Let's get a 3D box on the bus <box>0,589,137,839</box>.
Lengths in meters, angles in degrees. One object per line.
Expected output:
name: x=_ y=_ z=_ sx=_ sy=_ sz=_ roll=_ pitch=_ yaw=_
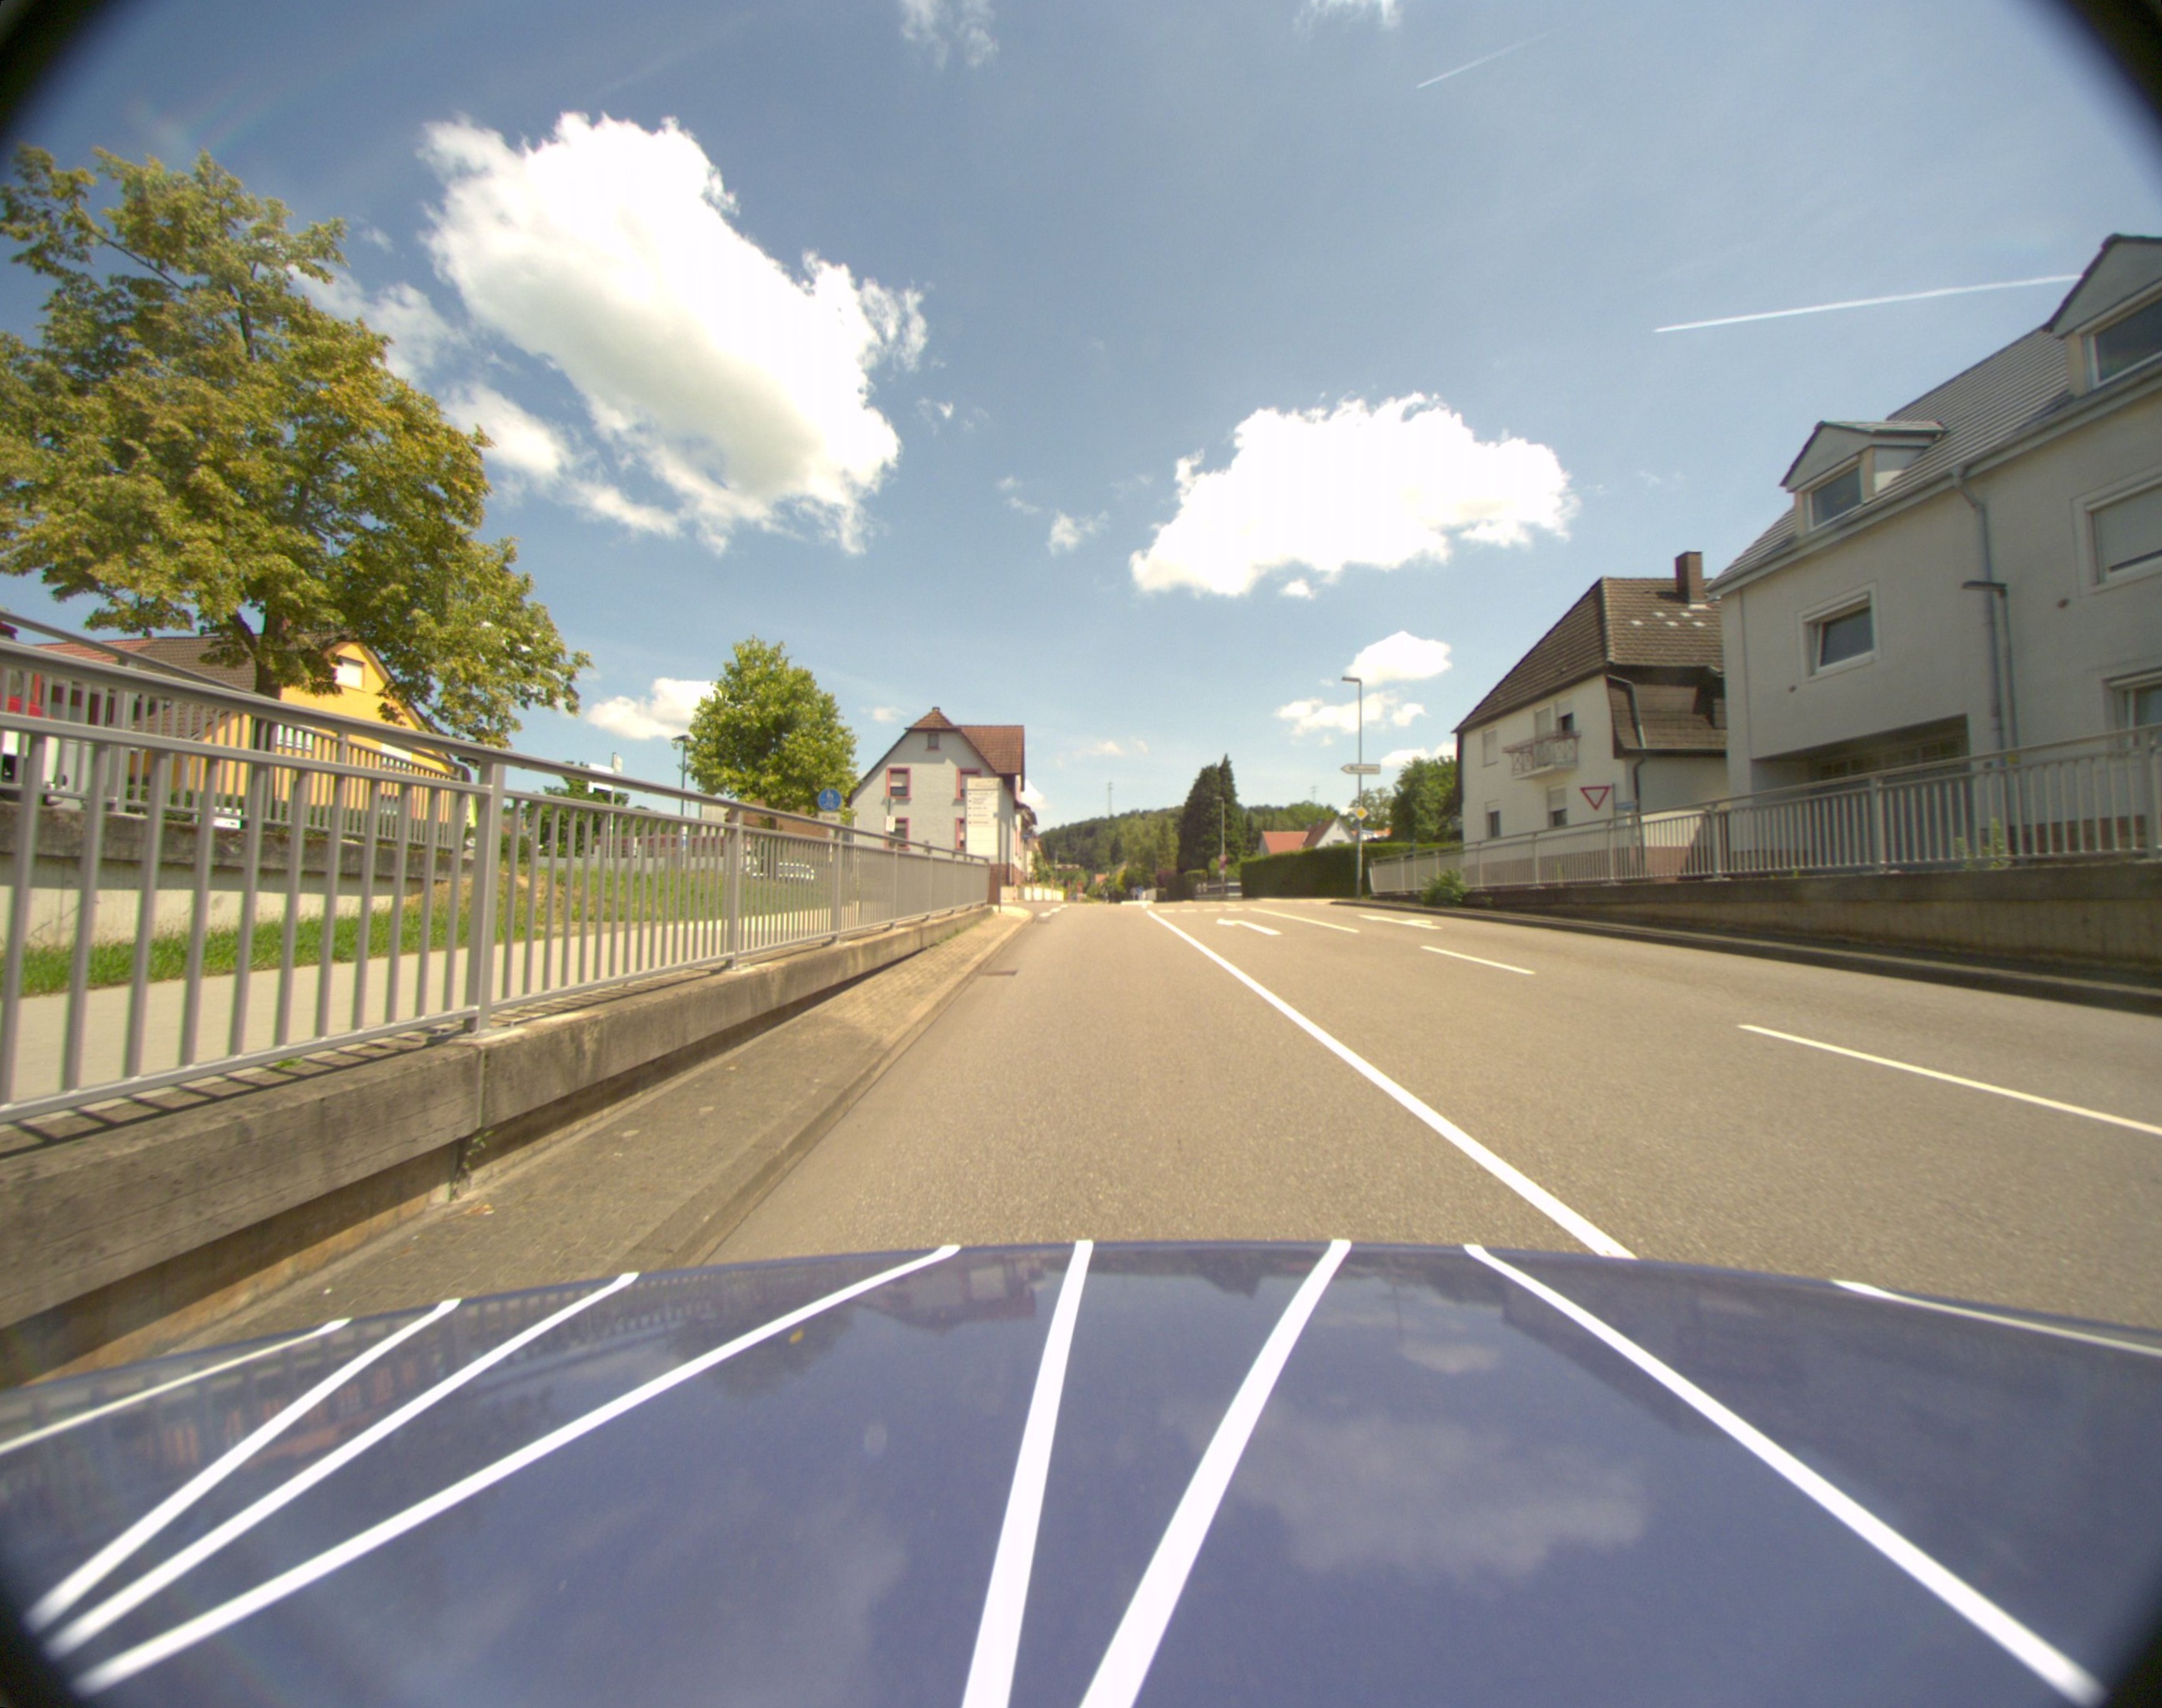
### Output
bus: x=-11.678 y=-1.544 z=5.755 sx=2.194 sy=2.351 sz=5.367 roll=1 pitch=-4 yaw=0
